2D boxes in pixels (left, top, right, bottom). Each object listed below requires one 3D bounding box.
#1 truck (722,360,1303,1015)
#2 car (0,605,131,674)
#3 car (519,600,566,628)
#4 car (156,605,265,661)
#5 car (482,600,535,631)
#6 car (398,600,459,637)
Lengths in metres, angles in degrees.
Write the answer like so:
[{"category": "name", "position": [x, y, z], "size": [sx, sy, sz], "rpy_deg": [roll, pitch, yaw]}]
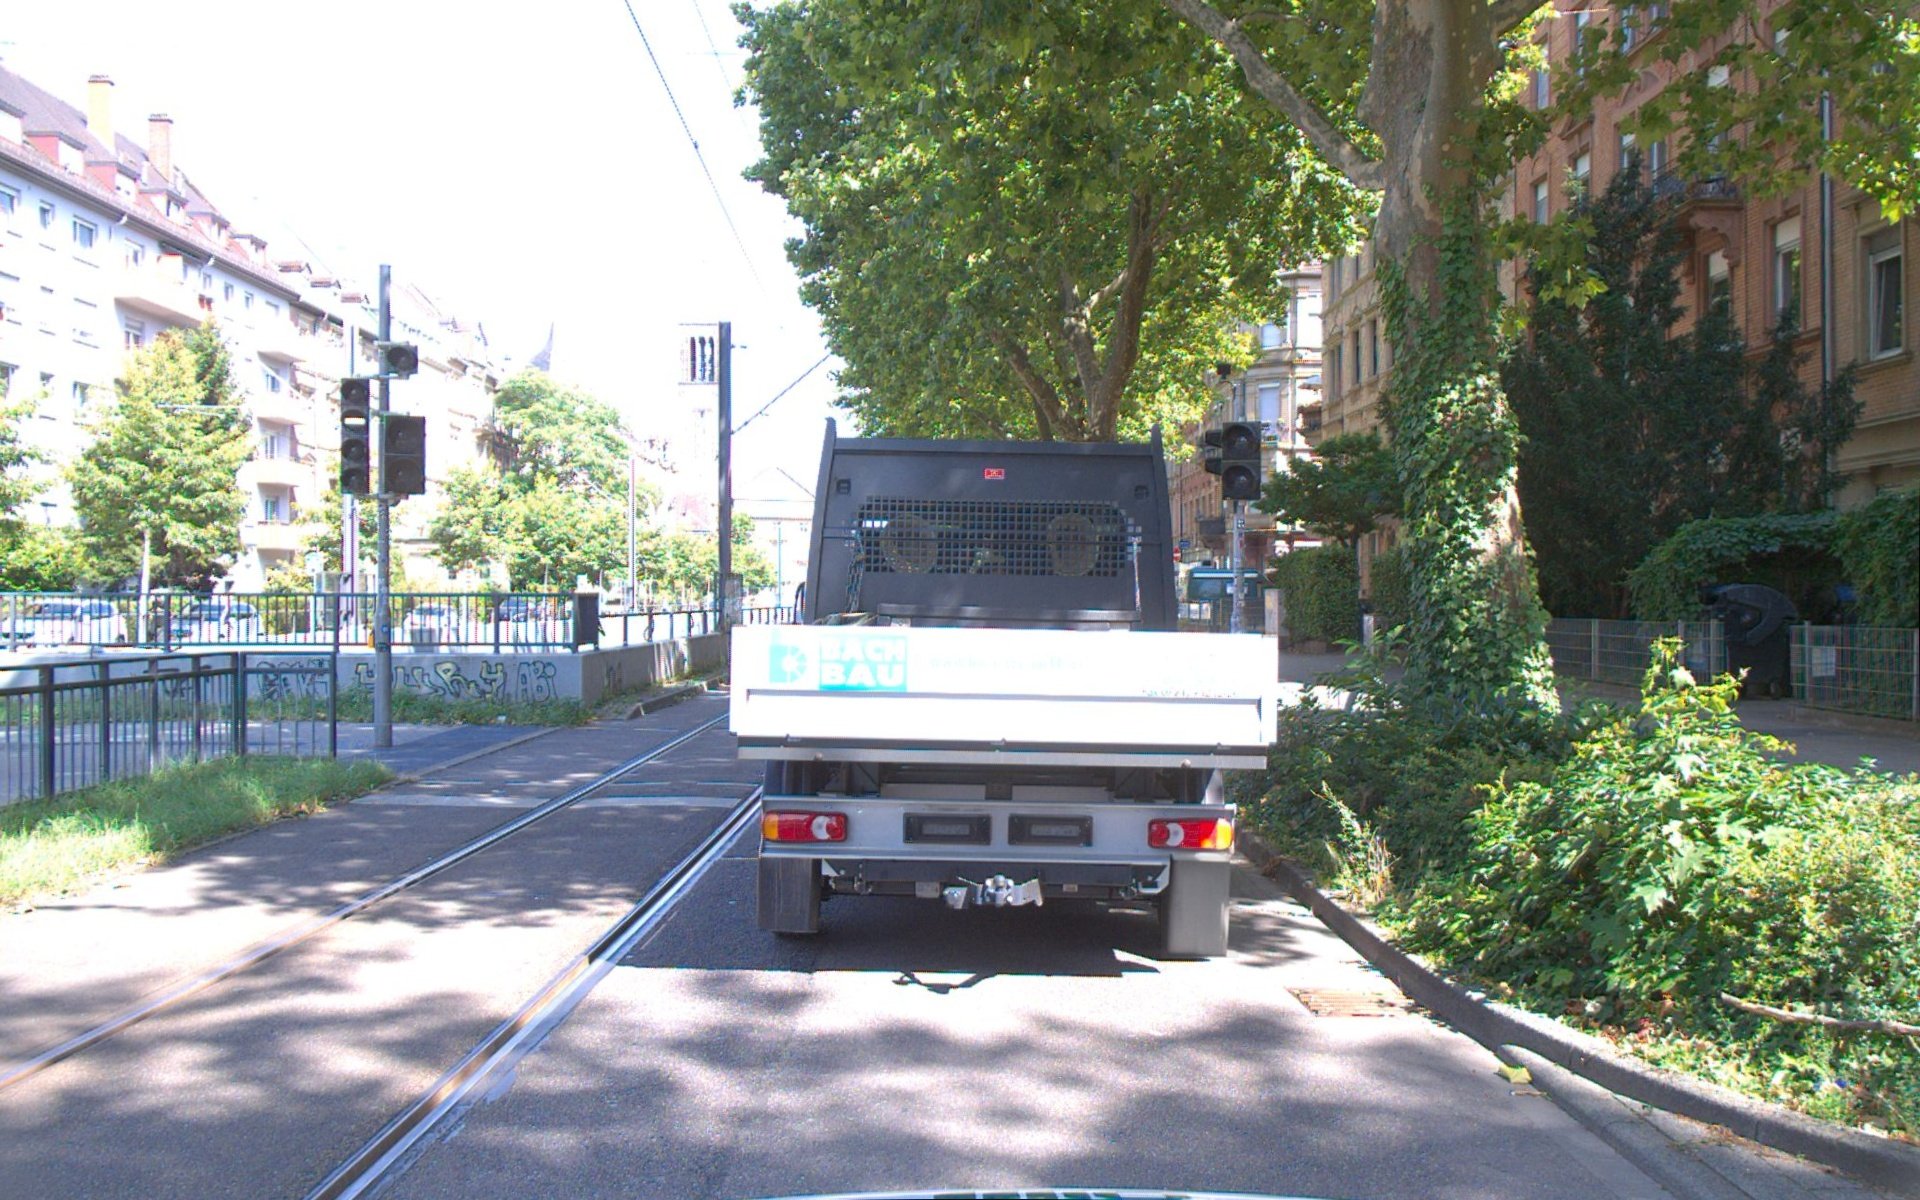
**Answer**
[{"category": "truck", "position": [0.198, 0.317, 8.204], "size": [2.094, 2.359, 4.401], "rpy_deg": [0, 0, 0]}, {"category": "car", "position": [-21.926, 0.929, 40.345], "size": [1.737, 1.524, 3.994], "rpy_deg": [-2, 0, -6]}, {"category": "car", "position": [-23.144, 0.772, 91.749], "size": [1.735, 1.524, 3.998], "rpy_deg": [0, 0, -2]}, {"category": "car", "position": [-22.106, 0.935, 48.923], "size": [1.737, 1.524, 3.994], "rpy_deg": [-2, 0, -6]}, {"category": "car", "position": [-22.863, 0.768, 83.916], "size": [1.735, 1.524, 3.998], "rpy_deg": [0, 0, -2]}, {"category": "car", "position": [-22.584, 0.761, 70.386], "size": [1.736, 1.524, 3.994], "rpy_deg": [0, 0, -6]}]
